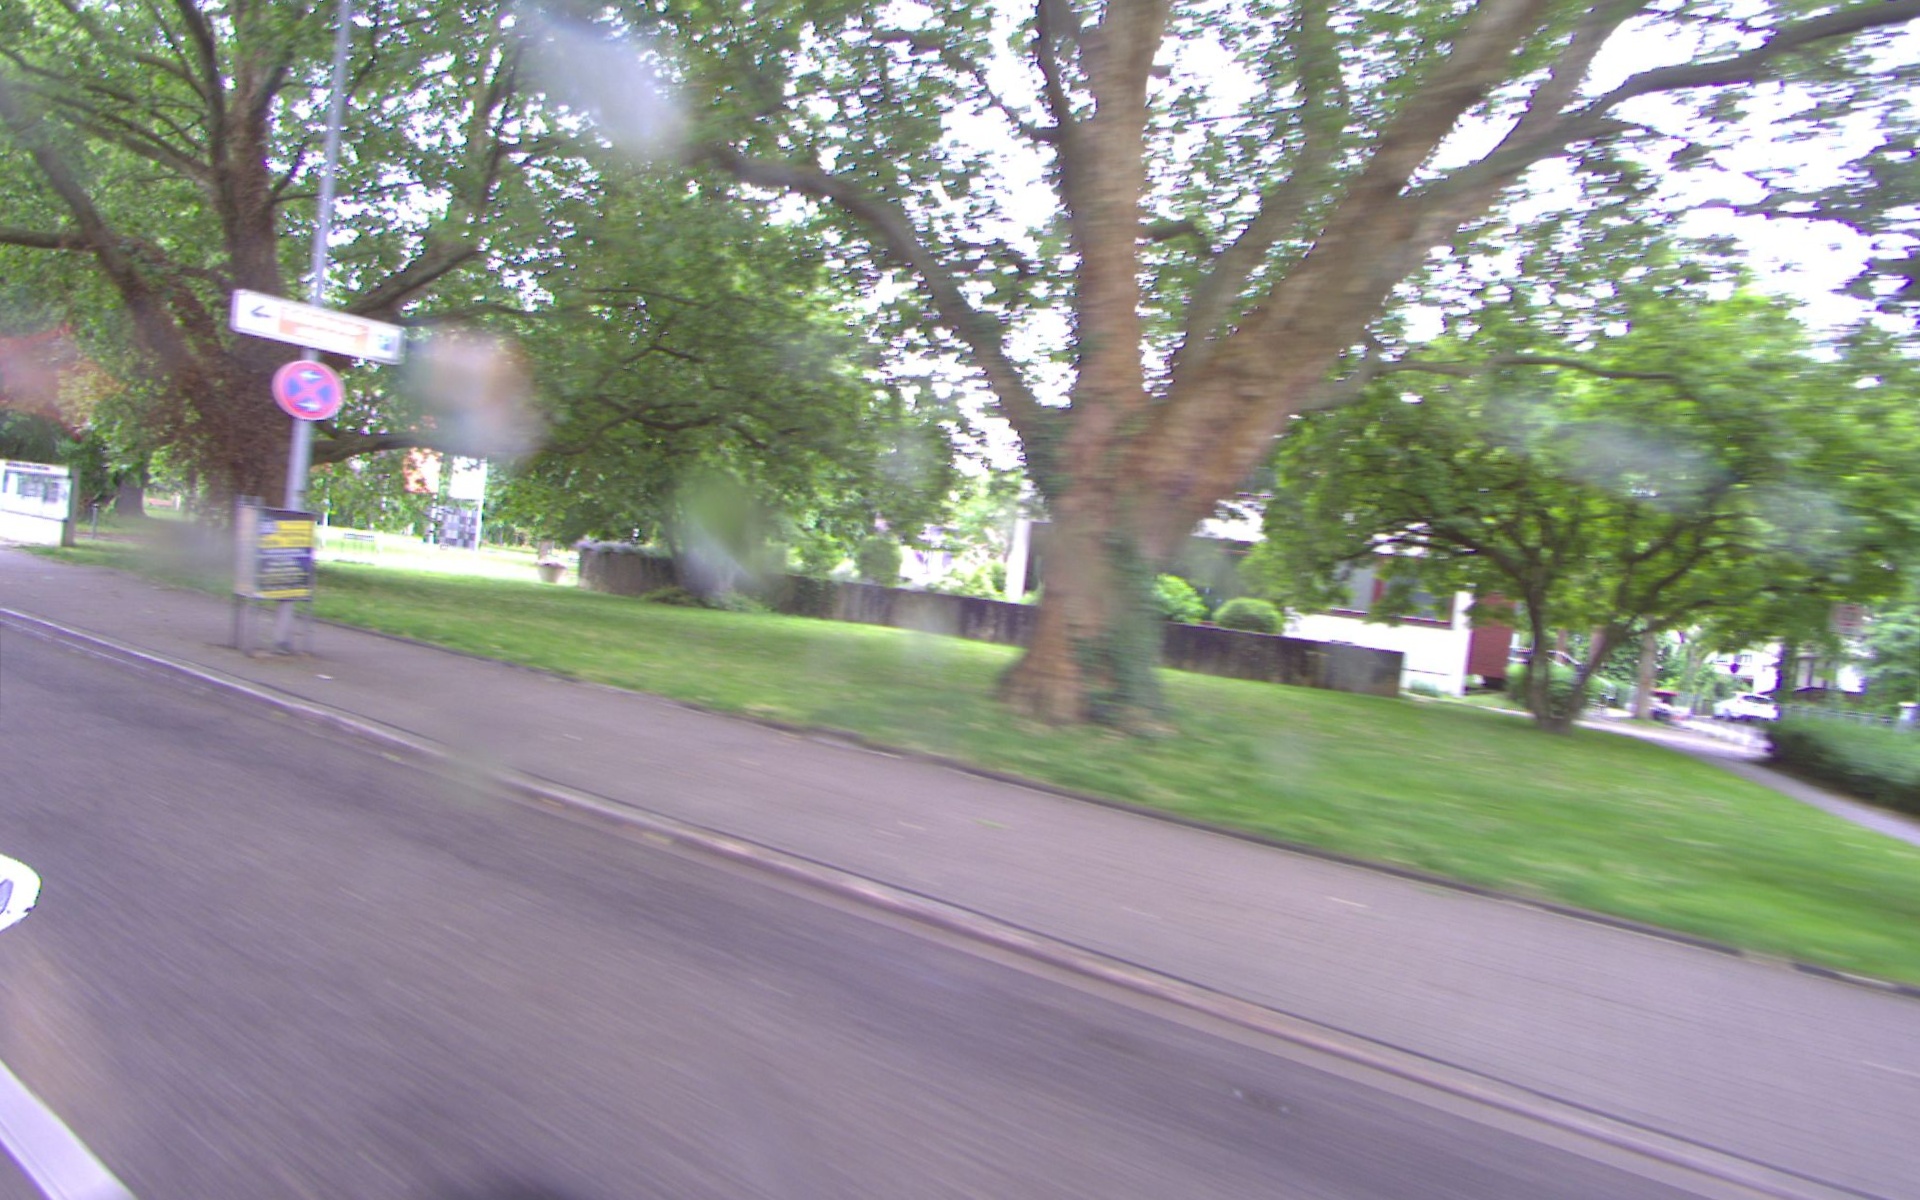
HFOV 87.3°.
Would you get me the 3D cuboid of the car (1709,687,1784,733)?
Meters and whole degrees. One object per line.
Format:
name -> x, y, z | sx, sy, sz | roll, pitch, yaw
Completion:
car -> 35.976, 4.994, 46.098 | 1.705, 1.591, 3.929 | 7, 1, 25
